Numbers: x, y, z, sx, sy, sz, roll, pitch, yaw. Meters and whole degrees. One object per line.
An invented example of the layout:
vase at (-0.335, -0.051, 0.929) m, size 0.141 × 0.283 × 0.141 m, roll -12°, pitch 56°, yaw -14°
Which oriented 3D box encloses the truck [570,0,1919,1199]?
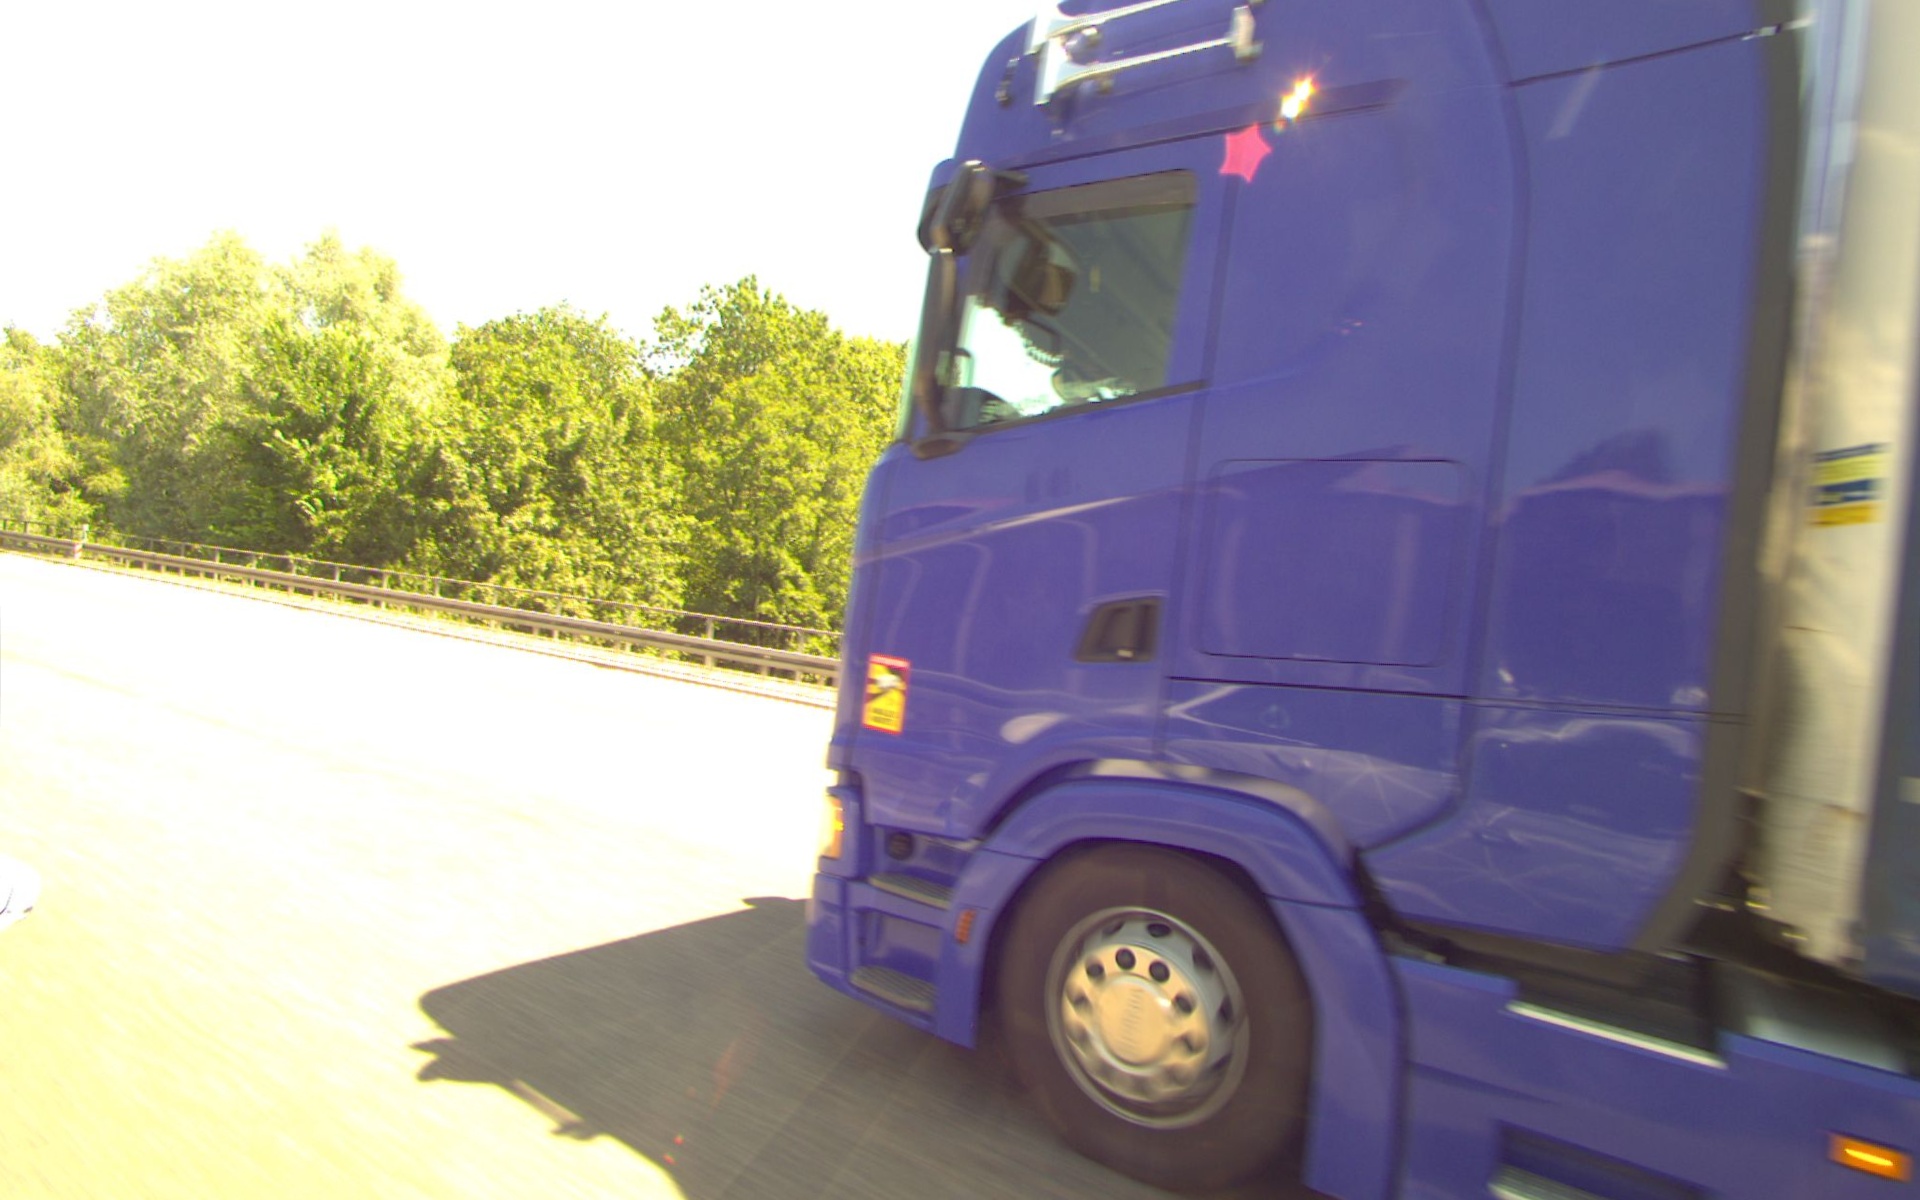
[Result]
truck at (2.393, -0.233, 3.174) m, size 6.874 × 4.166 × 2.705 m, roll 6°, pitch -1°, yaw 31°
